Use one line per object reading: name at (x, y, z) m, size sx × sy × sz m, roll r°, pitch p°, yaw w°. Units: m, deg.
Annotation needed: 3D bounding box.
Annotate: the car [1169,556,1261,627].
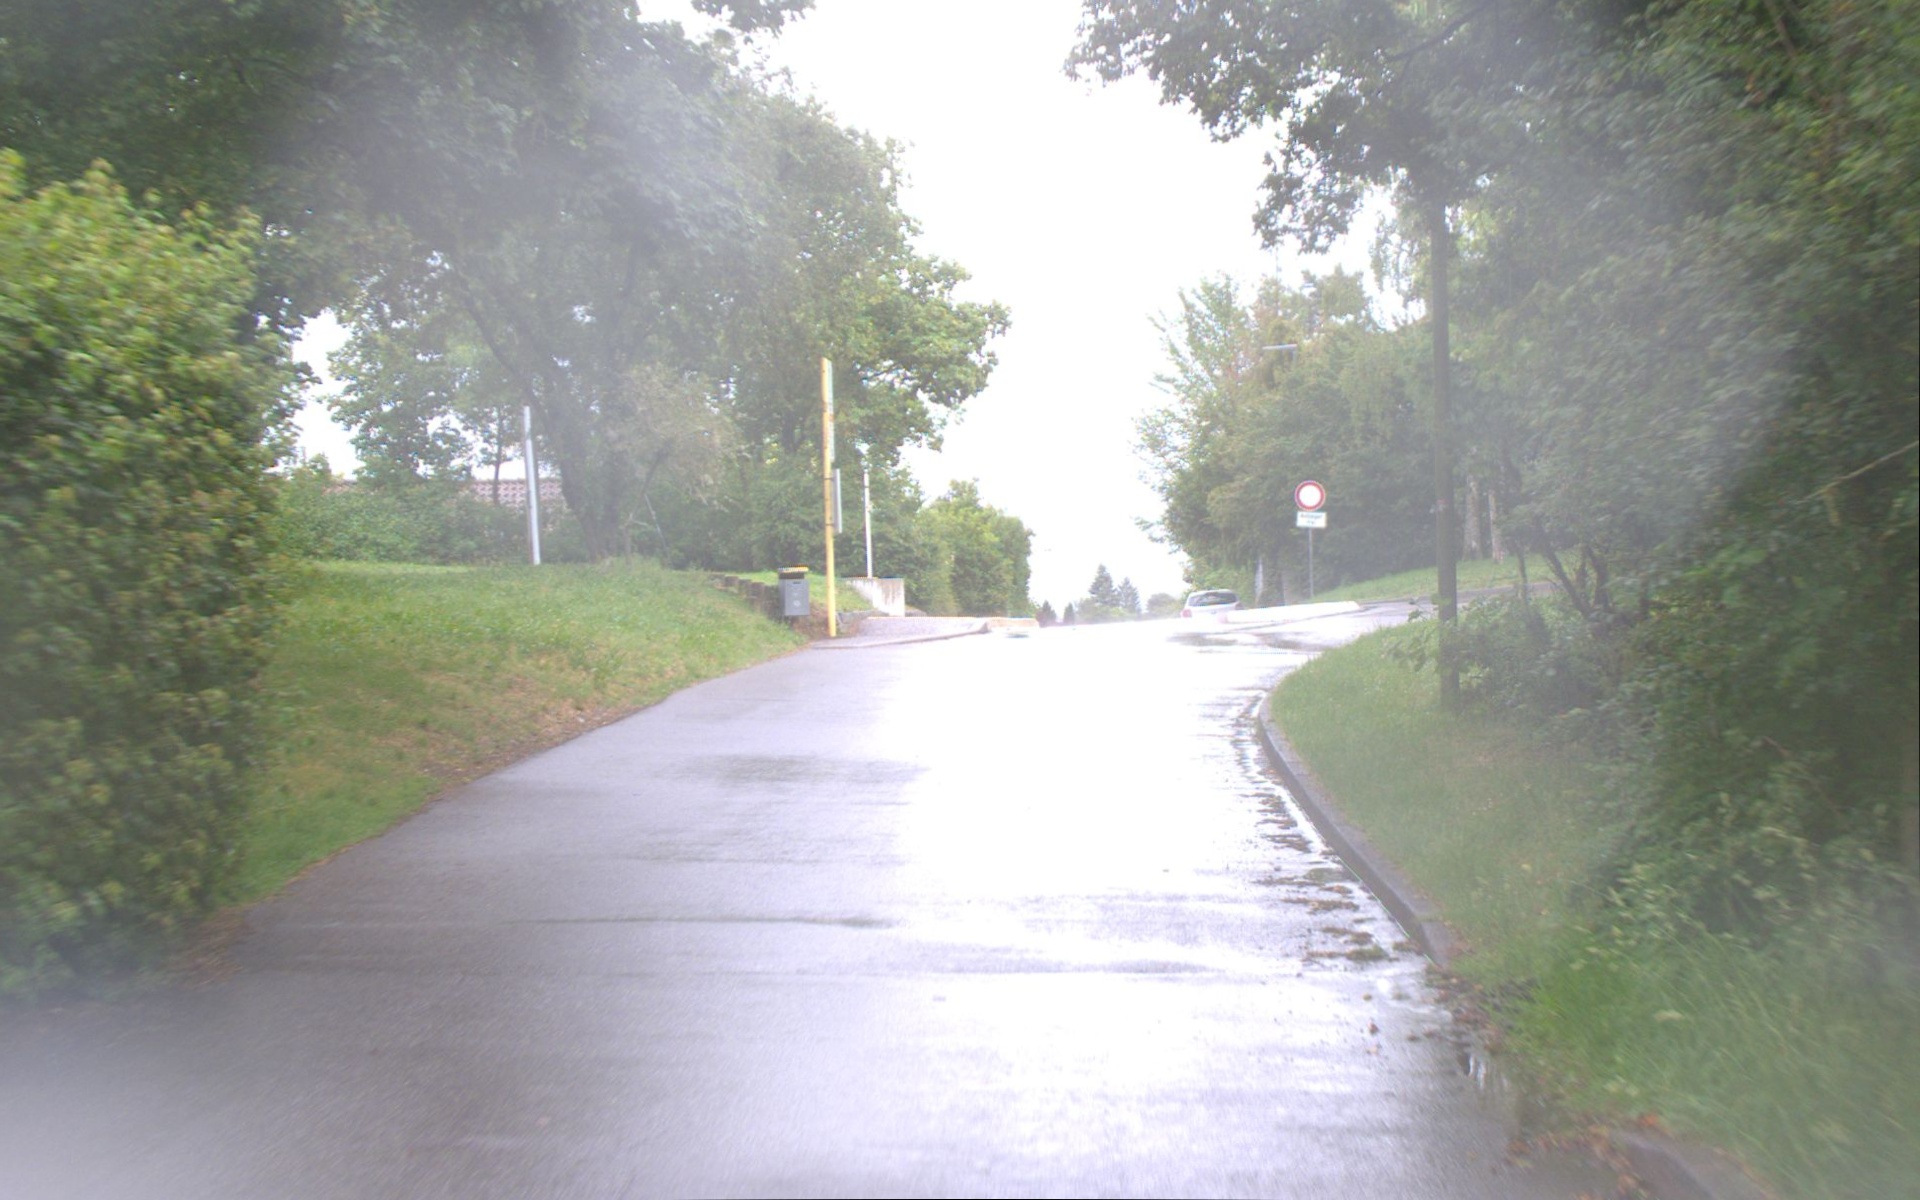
car at (6.493, -0.200, 87.130) m, size 1.994 × 1.578 × 3.998 m, roll -1°, pitch -3°, yaw 9°
